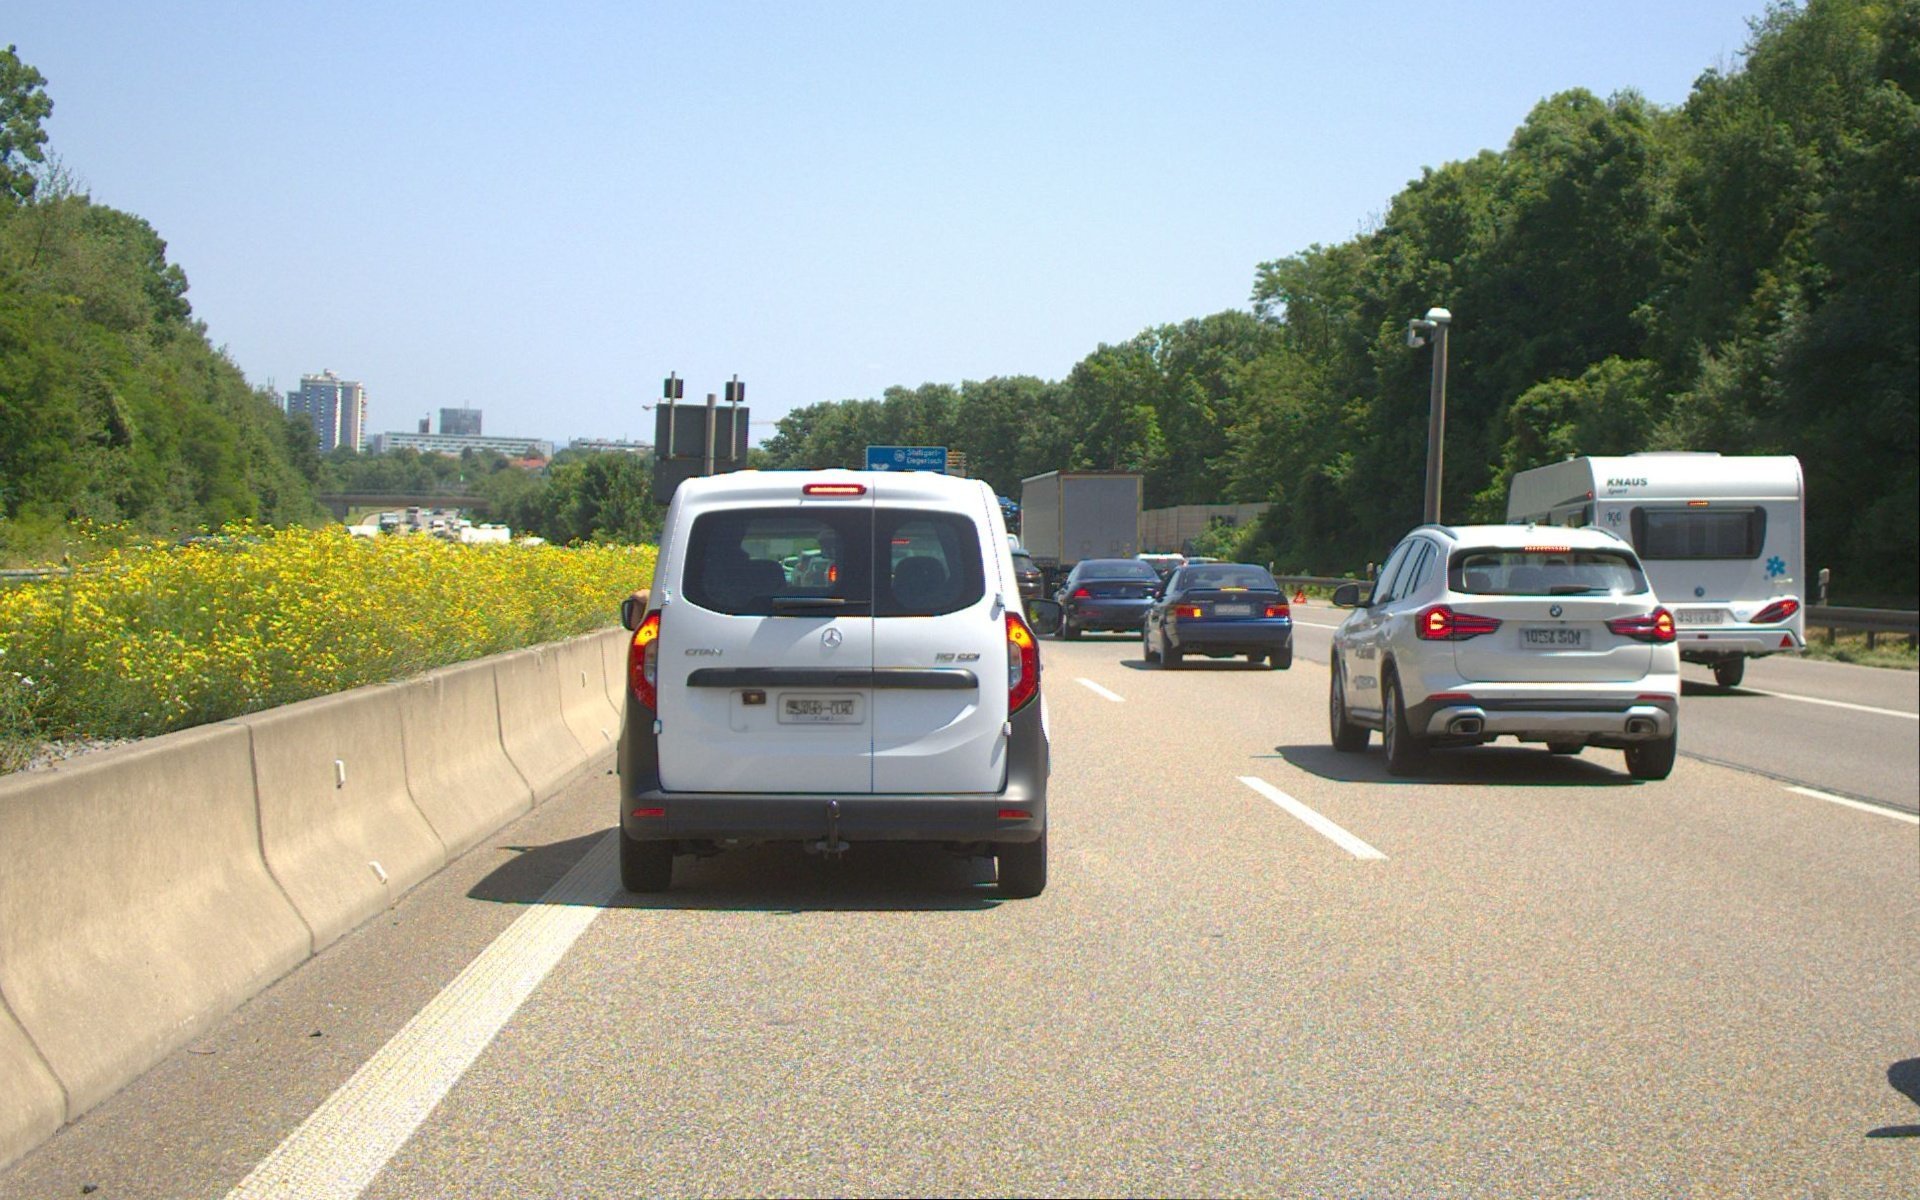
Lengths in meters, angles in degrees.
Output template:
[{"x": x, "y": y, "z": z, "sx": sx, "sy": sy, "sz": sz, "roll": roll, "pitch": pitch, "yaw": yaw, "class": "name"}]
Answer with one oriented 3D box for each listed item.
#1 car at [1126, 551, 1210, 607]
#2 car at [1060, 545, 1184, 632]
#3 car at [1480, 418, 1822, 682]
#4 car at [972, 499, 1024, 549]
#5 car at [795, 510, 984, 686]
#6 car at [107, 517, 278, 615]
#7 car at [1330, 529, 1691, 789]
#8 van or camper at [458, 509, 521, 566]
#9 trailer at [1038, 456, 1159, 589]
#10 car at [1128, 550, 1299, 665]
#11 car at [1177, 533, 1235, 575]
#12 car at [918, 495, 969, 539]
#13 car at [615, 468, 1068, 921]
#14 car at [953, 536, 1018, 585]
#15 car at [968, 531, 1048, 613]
[{"x": 5.404, "y": -0.571, "z": 89.830, "sx": 1.824, "sy": 1.419, "sz": 4.000, "roll": 1, "pitch": 1, "yaw": -2, "class": "car"}, {"x": 2.758, "y": -0.224, "z": 59.345, "sx": 1.824, "sy": 1.419, "sz": 4.000, "roll": 1, "pitch": 1, "yaw": -2, "class": "car"}, {"x": 7.756, "y": -0.577, "z": 39.353, "sx": 2.478, "sy": 2.756, "sz": 6.220, "roll": 1, "pitch": 1, "yaw": -2, "class": "car"}, {"x": 1.547, "y": -3.145, "z": 142.035, "sx": 1.993, "sy": 2.007, "sz": 4.000, "roll": 0, "pitch": 1, "yaw": -1, "class": "car"}, {"x": -0.803, "y": -0.050, "z": 38.516, "sx": 1.993, "sy": 1.853, "sz": 4.000, "roll": 1, "pitch": 1, "yaw": -2, "class": "car"}, {"x": -12.775, "y": -0.588, "z": 57.424, "sx": 1.993, "sy": 1.567, "sz": 4.065, "roll": 1, "pitch": 1, "yaw": -1, "class": "car"}, {"x": 3.710, "y": 0.334, "z": 23.810, "sx": 1.871, "sy": 1.602, "sz": 3.879, "roll": 1, "pitch": 1, "yaw": 0, "class": "car"}, {"x": -22.295, "y": -2.965, "z": 163.250, "sx": 2.308, "sy": 2.627, "sz": 7.400, "roll": 1, "pitch": 1, "yaw": -3, "class": "van or camper"}, {"x": 4.278, "y": -2.409, "z": 108.274, "sx": 3.081, "sy": 3.972, "sz": 10.324, "roll": 1, "pitch": 1, "yaw": -2, "class": "trailer"}, {"x": 3.285, "y": 0.064, "z": 45.213, "sx": 1.824, "sy": 1.419, "sz": 4.000, "roll": 1, "pitch": 1, "yaw": -2, "class": "car"}, {"x": 9.129, "y": -1.724, "z": 127.763, "sx": 1.788, "sy": 1.514, "sz": 4.000, "roll": 1, "pitch": 1, "yaw": -1, "class": "car"}, {"x": -0.769, "y": -3.820, "z": 158.737, "sx": 1.993, "sy": 2.007, "sz": 4.001, "roll": 0, "pitch": 1, "yaw": -5, "class": "car"}, {"x": -0.515, "y": 0.325, "z": 15.736, "sx": 1.802, "sy": 1.802, "sz": 4.001, "roll": 0, "pitch": 2, "yaw": -1, "class": "car"}, {"x": 0.762, "y": -1.227, "z": 105.672, "sx": 1.824, "sy": 1.442, "sz": 4.000, "roll": 1, "pitch": 1, "yaw": -2, "class": "car"}, {"x": 1.181, "y": -0.711, "z": 86.108, "sx": 1.824, "sy": 1.982, "sz": 4.000, "roll": 1, "pitch": 1, "yaw": -2, "class": "car"}]
